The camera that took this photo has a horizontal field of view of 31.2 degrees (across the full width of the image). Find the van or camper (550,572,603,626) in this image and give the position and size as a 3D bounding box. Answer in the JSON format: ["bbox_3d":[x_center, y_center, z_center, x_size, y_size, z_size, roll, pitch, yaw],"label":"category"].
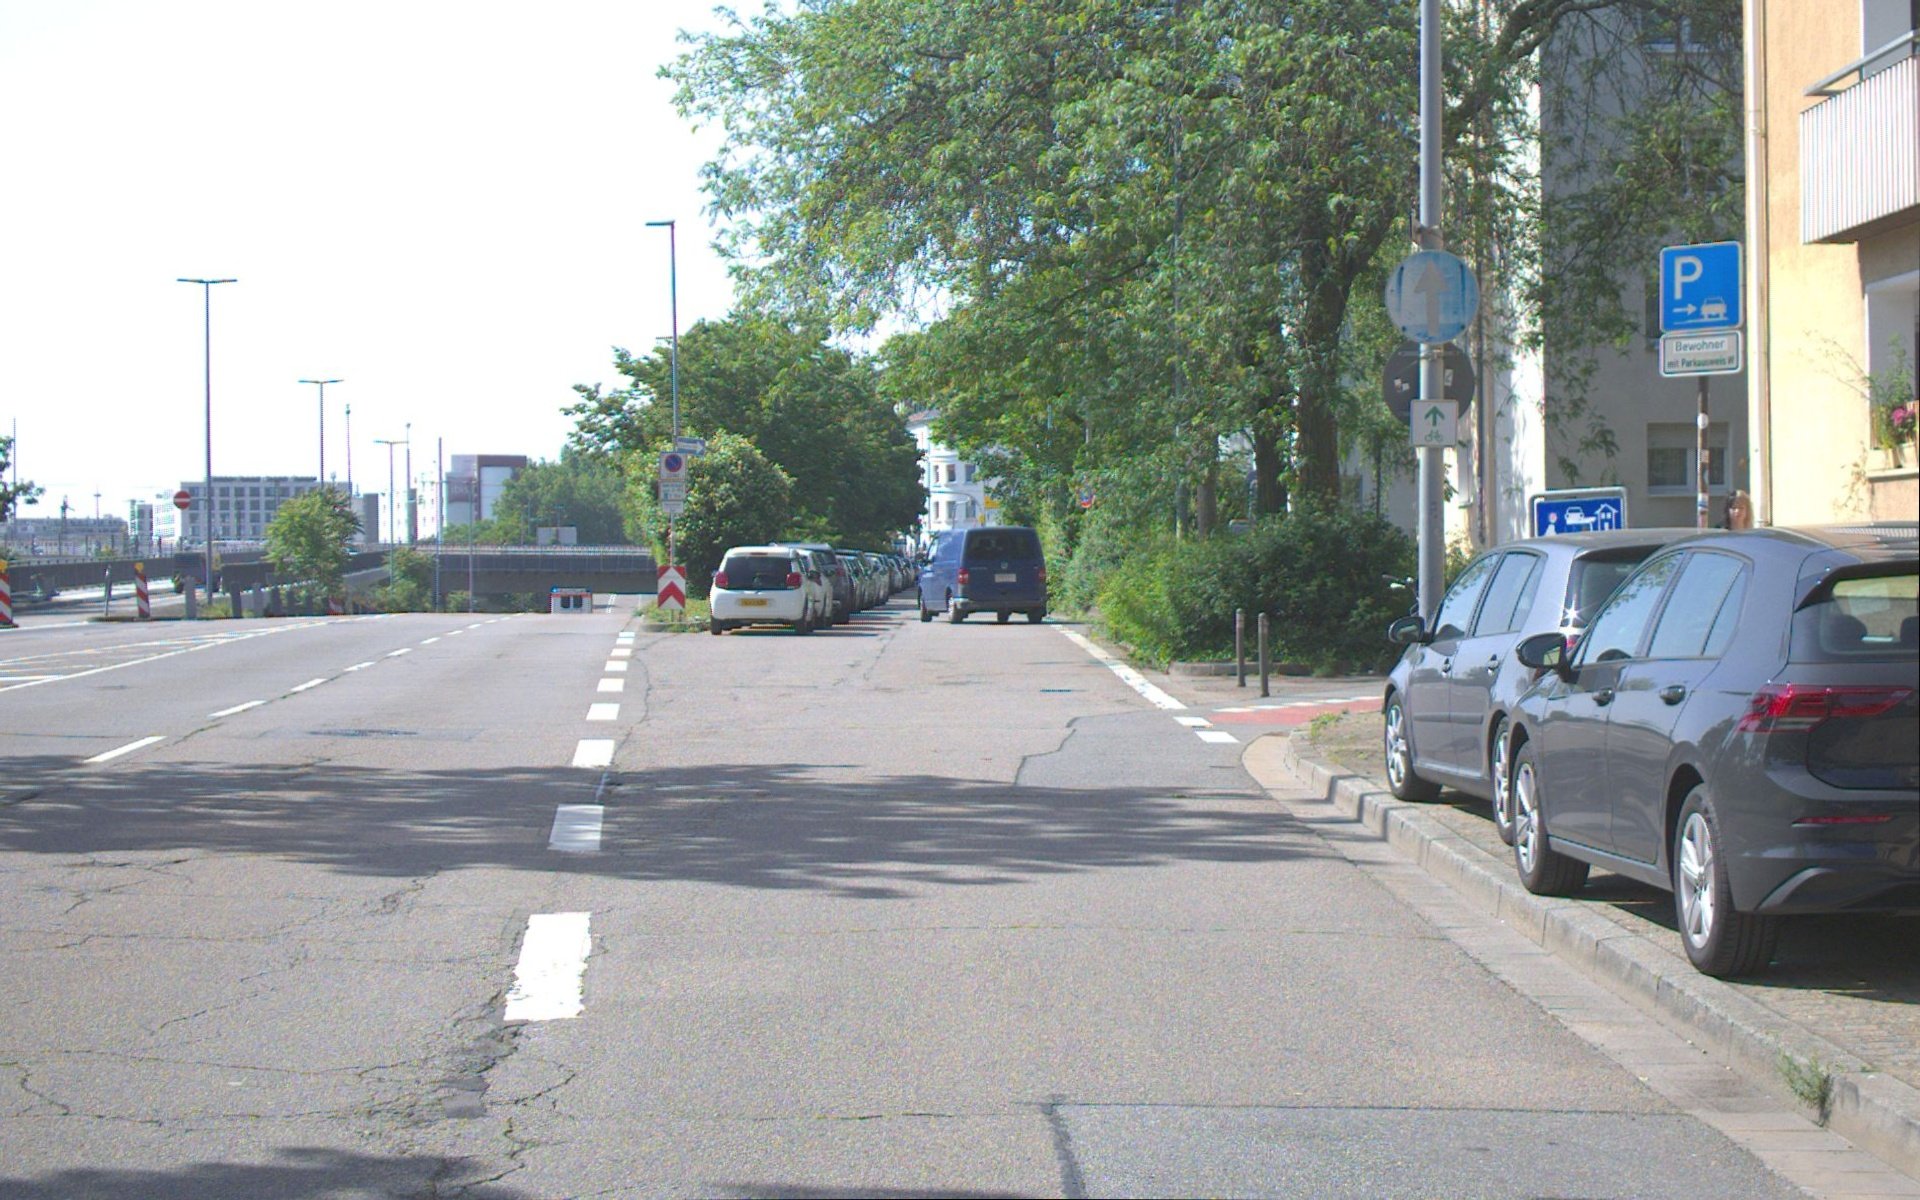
[{"bbox_3d":[-20.680,-0.068,185.499,2.296,2.779,5.571,-1,1,-1],"label":"van or camper"}]

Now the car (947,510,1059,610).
[{"bbox_3d":[0.835,-0.838,69.578,1.882,1.915,4.009,1,1,-4],"label":"car"}]

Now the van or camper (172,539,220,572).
[{"bbox_3d":[-32.739,-1.916,147.339,1.466,1.345,4.632,-1,1,-6],"label":"van or camper"}]

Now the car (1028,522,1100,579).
[{"bbox_3d":[2.750,-1.322,91.691,1.726,1.415,4.000,-2,1,0],"label":"car"}]

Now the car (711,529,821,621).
[{"bbox_3d":[-3.293,-0.449,58.898,1.619,1.500,3.462,-1,1,1],"label":"car"}]

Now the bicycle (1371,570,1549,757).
[{"bbox_3d":[3.195,0.381,22.114,0.702,1.120,1.745,-1,1,-6],"label":"bicycle"}]

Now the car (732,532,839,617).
[{"bbox_3d":[-3.197,-0.496,63.566,1.721,1.500,4.132,0,1,1],"label":"car"}]

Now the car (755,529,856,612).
[{"bbox_3d":[-3.138,-0.615,69.088,1.771,1.574,4.187,-1,1,-6],"label":"car"}]

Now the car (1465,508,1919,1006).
[{"bbox_3d":[3.129,0.416,12.518,1.710,1.457,4.256,-2,2,-3],"label":"car"}]

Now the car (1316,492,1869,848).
[{"bbox_3d":[3.044,0.246,17.409,1.703,1.508,4.093,-3,2,-4],"label":"car"}]

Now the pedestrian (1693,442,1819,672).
[{"bbox_3d":[5.771,-0.318,24.959,0.655,1.603,0.824,-3,2,1],"label":"pedestrian"}]
